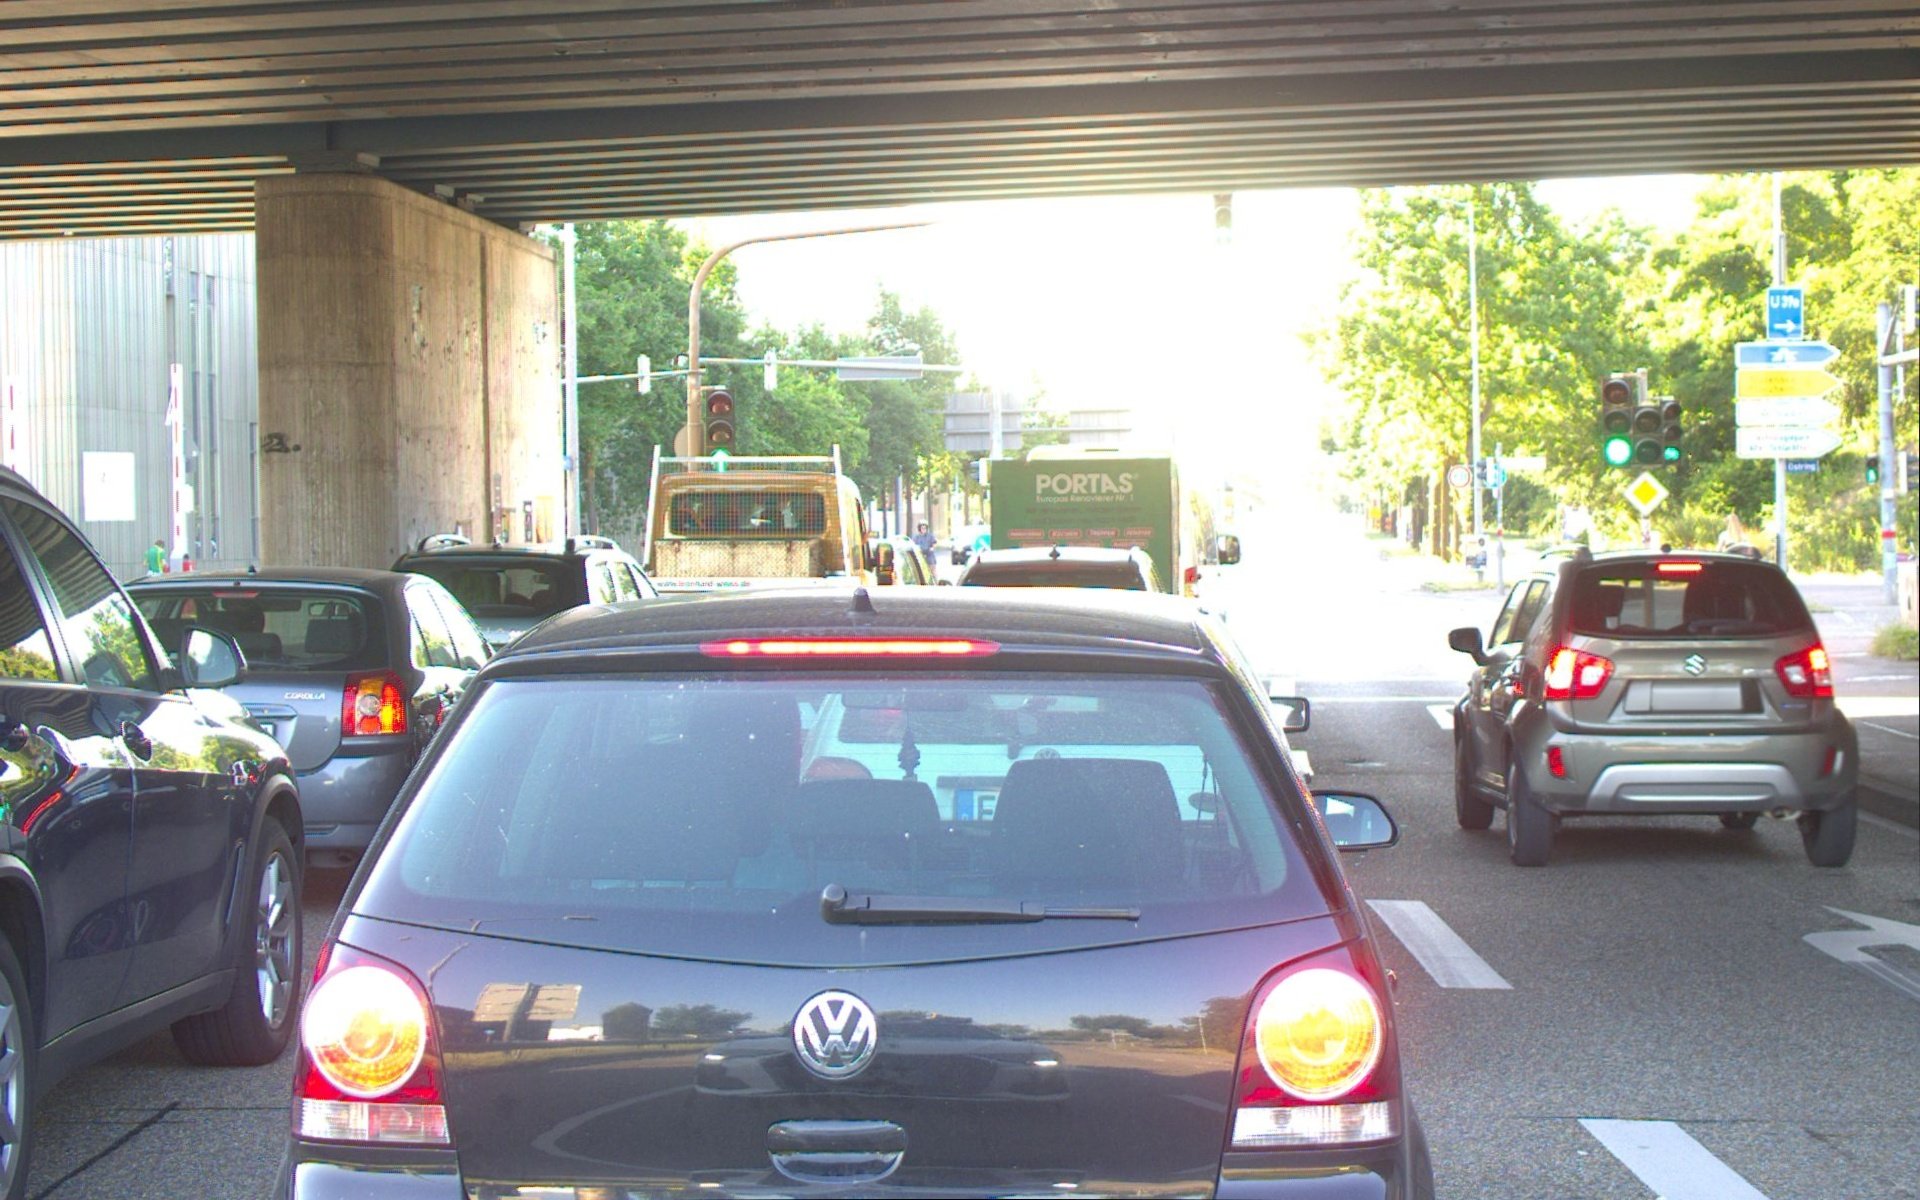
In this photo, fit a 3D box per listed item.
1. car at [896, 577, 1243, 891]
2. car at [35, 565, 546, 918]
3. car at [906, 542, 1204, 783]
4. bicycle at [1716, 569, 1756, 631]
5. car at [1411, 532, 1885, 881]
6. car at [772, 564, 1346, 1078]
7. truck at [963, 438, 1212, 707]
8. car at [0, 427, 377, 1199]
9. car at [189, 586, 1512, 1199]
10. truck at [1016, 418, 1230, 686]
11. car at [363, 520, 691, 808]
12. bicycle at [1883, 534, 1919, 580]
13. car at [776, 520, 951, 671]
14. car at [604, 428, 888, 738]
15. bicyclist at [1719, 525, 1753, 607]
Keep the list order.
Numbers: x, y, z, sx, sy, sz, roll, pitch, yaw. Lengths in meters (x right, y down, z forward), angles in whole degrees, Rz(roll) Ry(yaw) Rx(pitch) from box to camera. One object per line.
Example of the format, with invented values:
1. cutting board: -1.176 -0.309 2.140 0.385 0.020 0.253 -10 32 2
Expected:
1. car: 0.530 0.602 17.843 1.578 1.408 4.062 1 1 1
2. car: -2.929 0.555 15.736 1.616 1.405 3.683 1 1 0
3. car: 0.763 0.391 24.604 1.796 1.553 3.999 1 1 6
4. bicycle: 11.620 -0.004 51.486 0.437 0.911 1.026 -2 0 6
5. car: 3.519 0.484 18.301 1.737 1.625 4.062 1 1 1
6. car: 0.301 0.595 11.604 1.578 1.408 4.062 1 1 1
7. truck: 1.251 -0.261 31.914 1.996 2.307 3.999 1 1 6
8. car: -2.906 0.485 8.367 1.994 1.728 4.532 1 1 3
9. car: -0.024 0.699 6.046 1.617 1.405 3.682 1 1 4
10. truck: 1.787 -0.503 36.455 1.996 2.659 3.999 1 1 6
11. car: -2.696 0.358 22.099 1.616 1.673 3.683 1 1 0
12. bicycle: 21.671 -0.978 77.309 1.664 0.988 0.577 -1 4 23
13. car: -1.089 -0.072 40.419 1.617 1.673 3.682 1 1 5
14. car: -1.846 -0.169 31.331 2.137 2.567 5.087 1 1 1
15. bicyclist: 11.631 -0.510 51.535 0.427 1.229 0.460 -1 0 6
